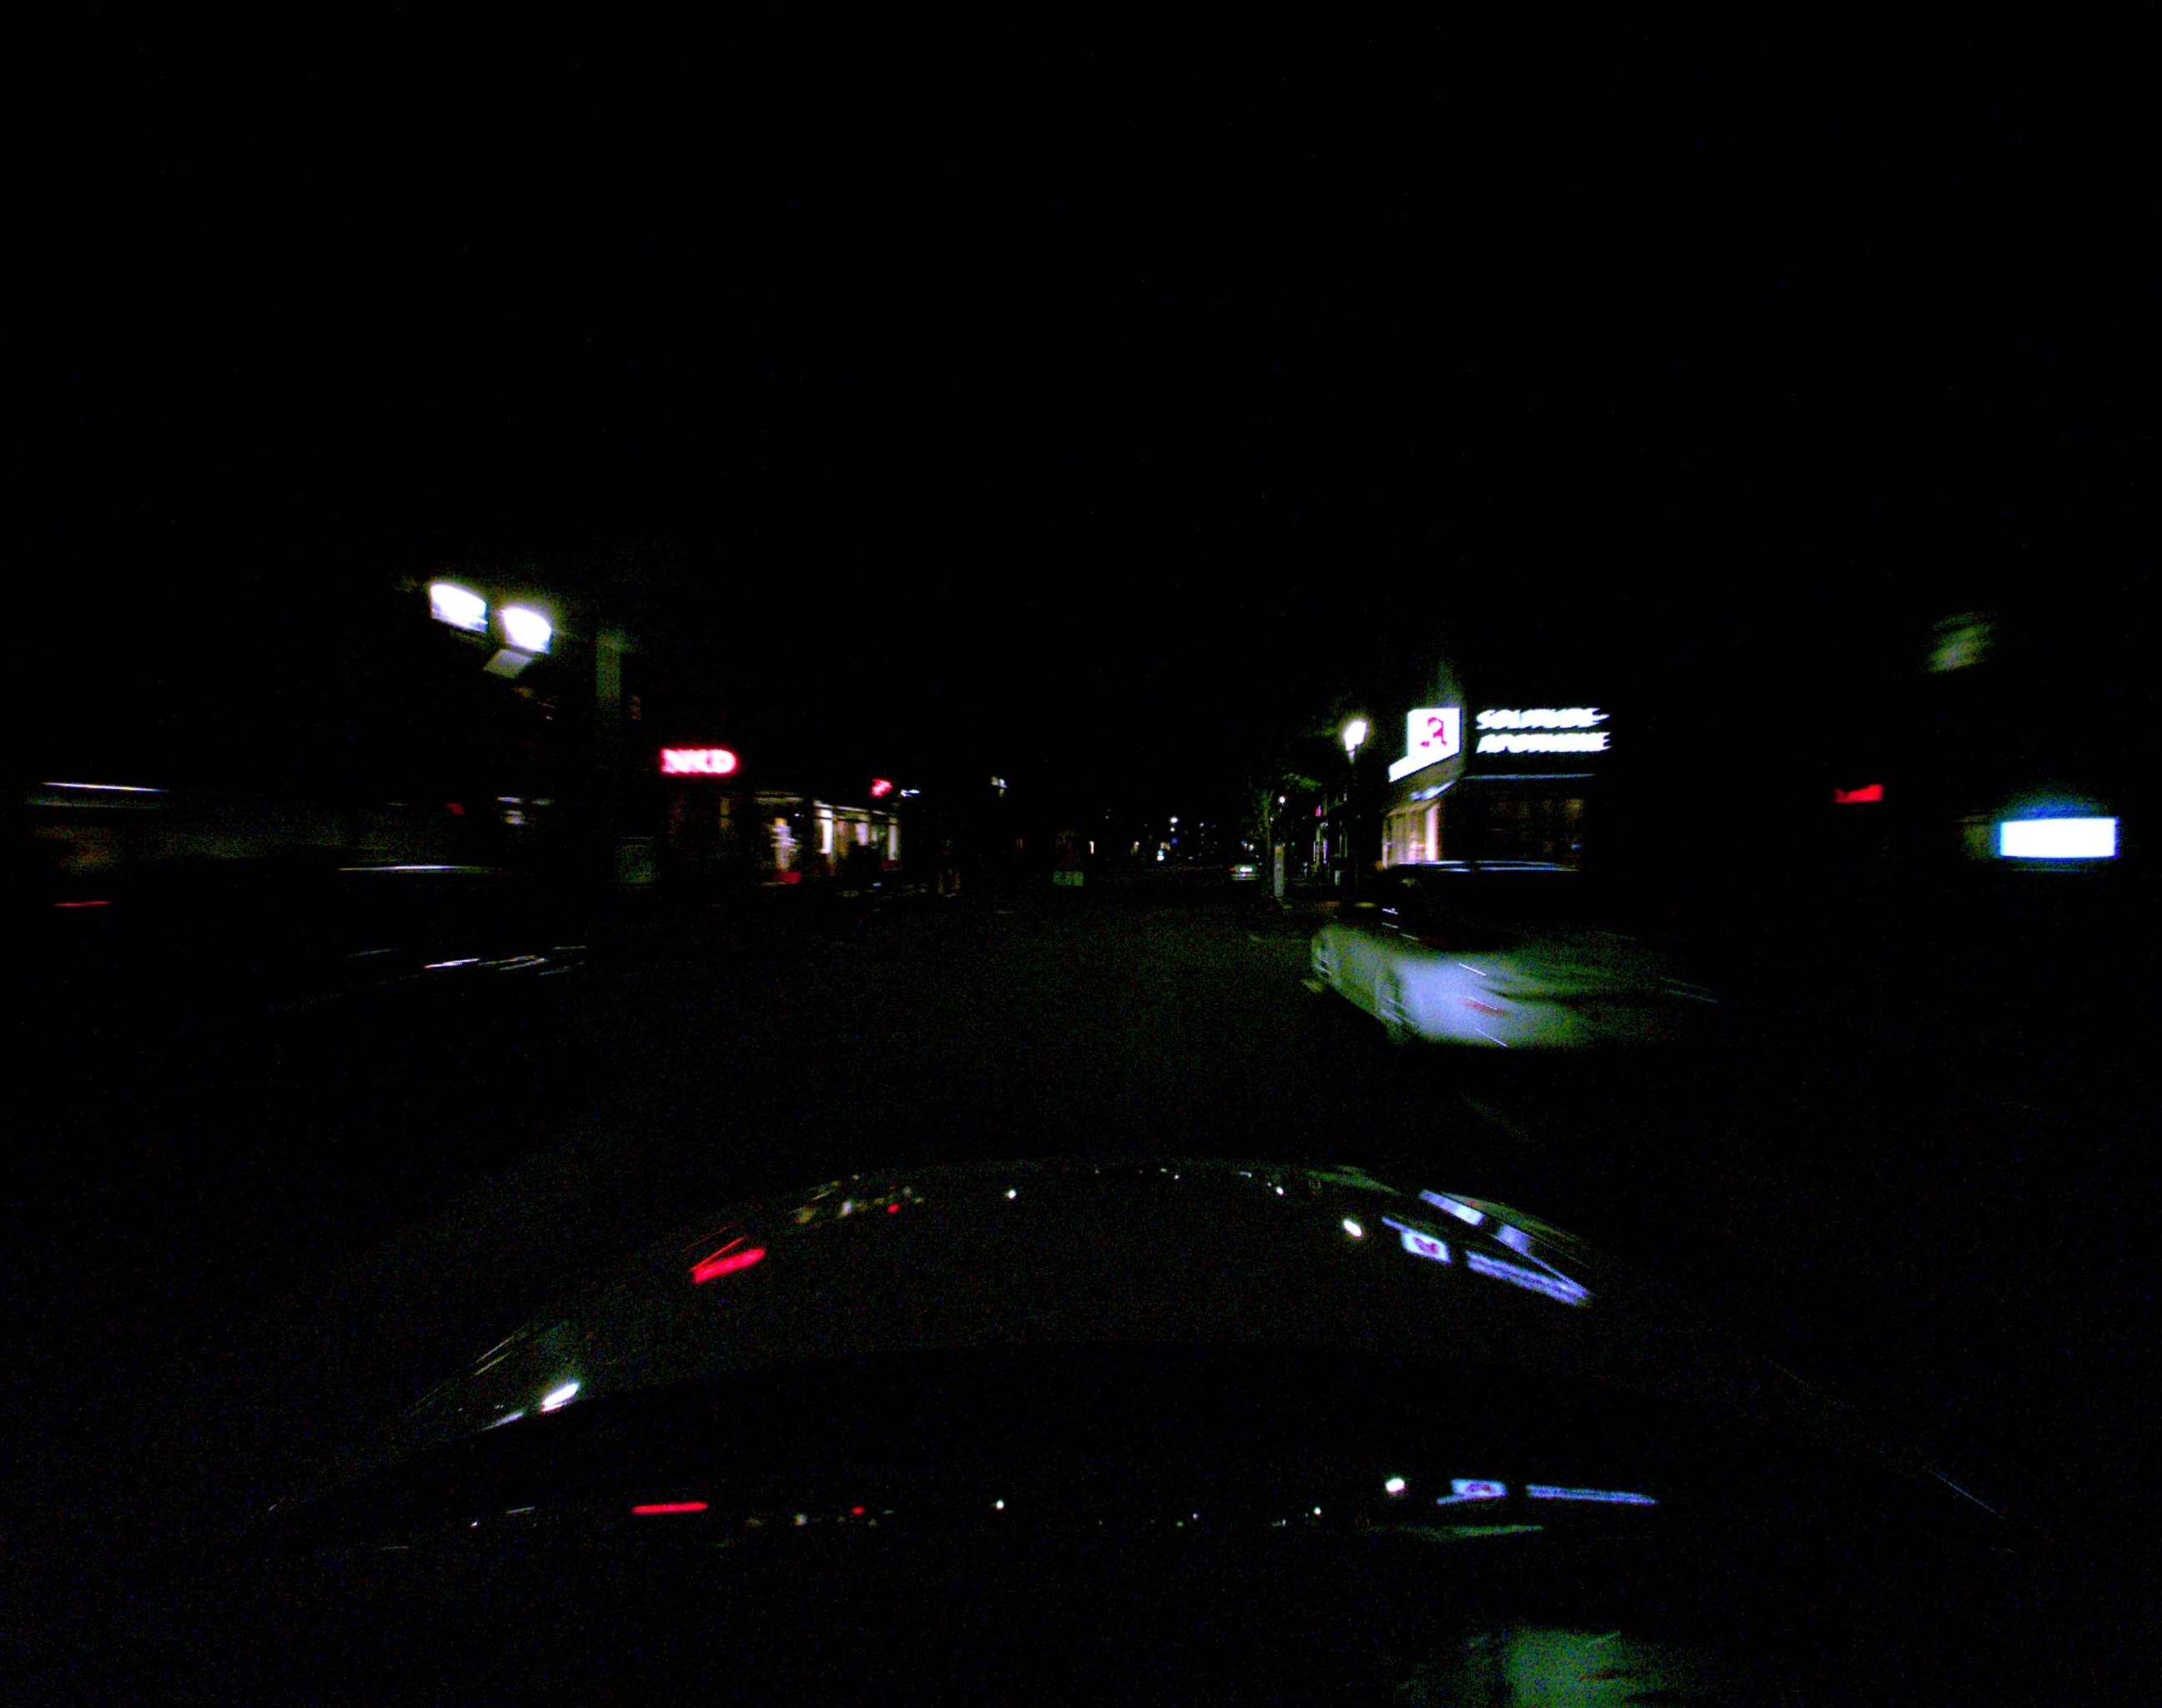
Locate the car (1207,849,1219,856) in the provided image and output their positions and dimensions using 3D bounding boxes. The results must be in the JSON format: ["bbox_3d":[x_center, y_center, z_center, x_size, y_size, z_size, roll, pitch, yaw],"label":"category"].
[{"bbox_3d":[27.087,-0.317,167.187,1.900,1.370,4.475,0,1,14],"label":"car"}]

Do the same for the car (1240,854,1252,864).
[{"bbox_3d":[23.901,0.741,118.073,1.664,1.459,3.686,0,0,10],"label":"car"}]

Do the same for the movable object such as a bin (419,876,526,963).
[{"bbox_3d":[-7.791,0.816,10.462,0.744,1.065,0.793,0,-1,1],"label":"movable object such as a bin"}]

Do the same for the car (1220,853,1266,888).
[{"bbox_3d":[7.227,0.704,36.650,1.725,1.440,4.505,0,0,7],"label":"car"}]

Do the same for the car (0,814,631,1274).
[{"bbox_3d":[-4.700,0.672,4.437,1.752,1.637,4.815,0,0,1],"label":"car"}]

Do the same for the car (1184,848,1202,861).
[{"bbox_3d":[15.674,0.076,114.083,2.004,1.691,5.021,2,1,13],"label":"car"}]

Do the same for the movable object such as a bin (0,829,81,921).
[{"bbox_3d":[-17.730,0.329,13.336,1.126,1.457,1.229,1,-1,3],"label":"movable object such as a bin"}]

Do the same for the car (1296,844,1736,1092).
[{"bbox_3d":[3.239,0.721,7.264,1.734,1.487,4.641,0,-1,4],"label":"car"}]

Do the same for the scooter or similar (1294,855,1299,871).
[{"bbox_3d":[17.022,0.727,64.407,0.370,1.277,1.310,0,-1,13],"label":"scooter or similar"}]
